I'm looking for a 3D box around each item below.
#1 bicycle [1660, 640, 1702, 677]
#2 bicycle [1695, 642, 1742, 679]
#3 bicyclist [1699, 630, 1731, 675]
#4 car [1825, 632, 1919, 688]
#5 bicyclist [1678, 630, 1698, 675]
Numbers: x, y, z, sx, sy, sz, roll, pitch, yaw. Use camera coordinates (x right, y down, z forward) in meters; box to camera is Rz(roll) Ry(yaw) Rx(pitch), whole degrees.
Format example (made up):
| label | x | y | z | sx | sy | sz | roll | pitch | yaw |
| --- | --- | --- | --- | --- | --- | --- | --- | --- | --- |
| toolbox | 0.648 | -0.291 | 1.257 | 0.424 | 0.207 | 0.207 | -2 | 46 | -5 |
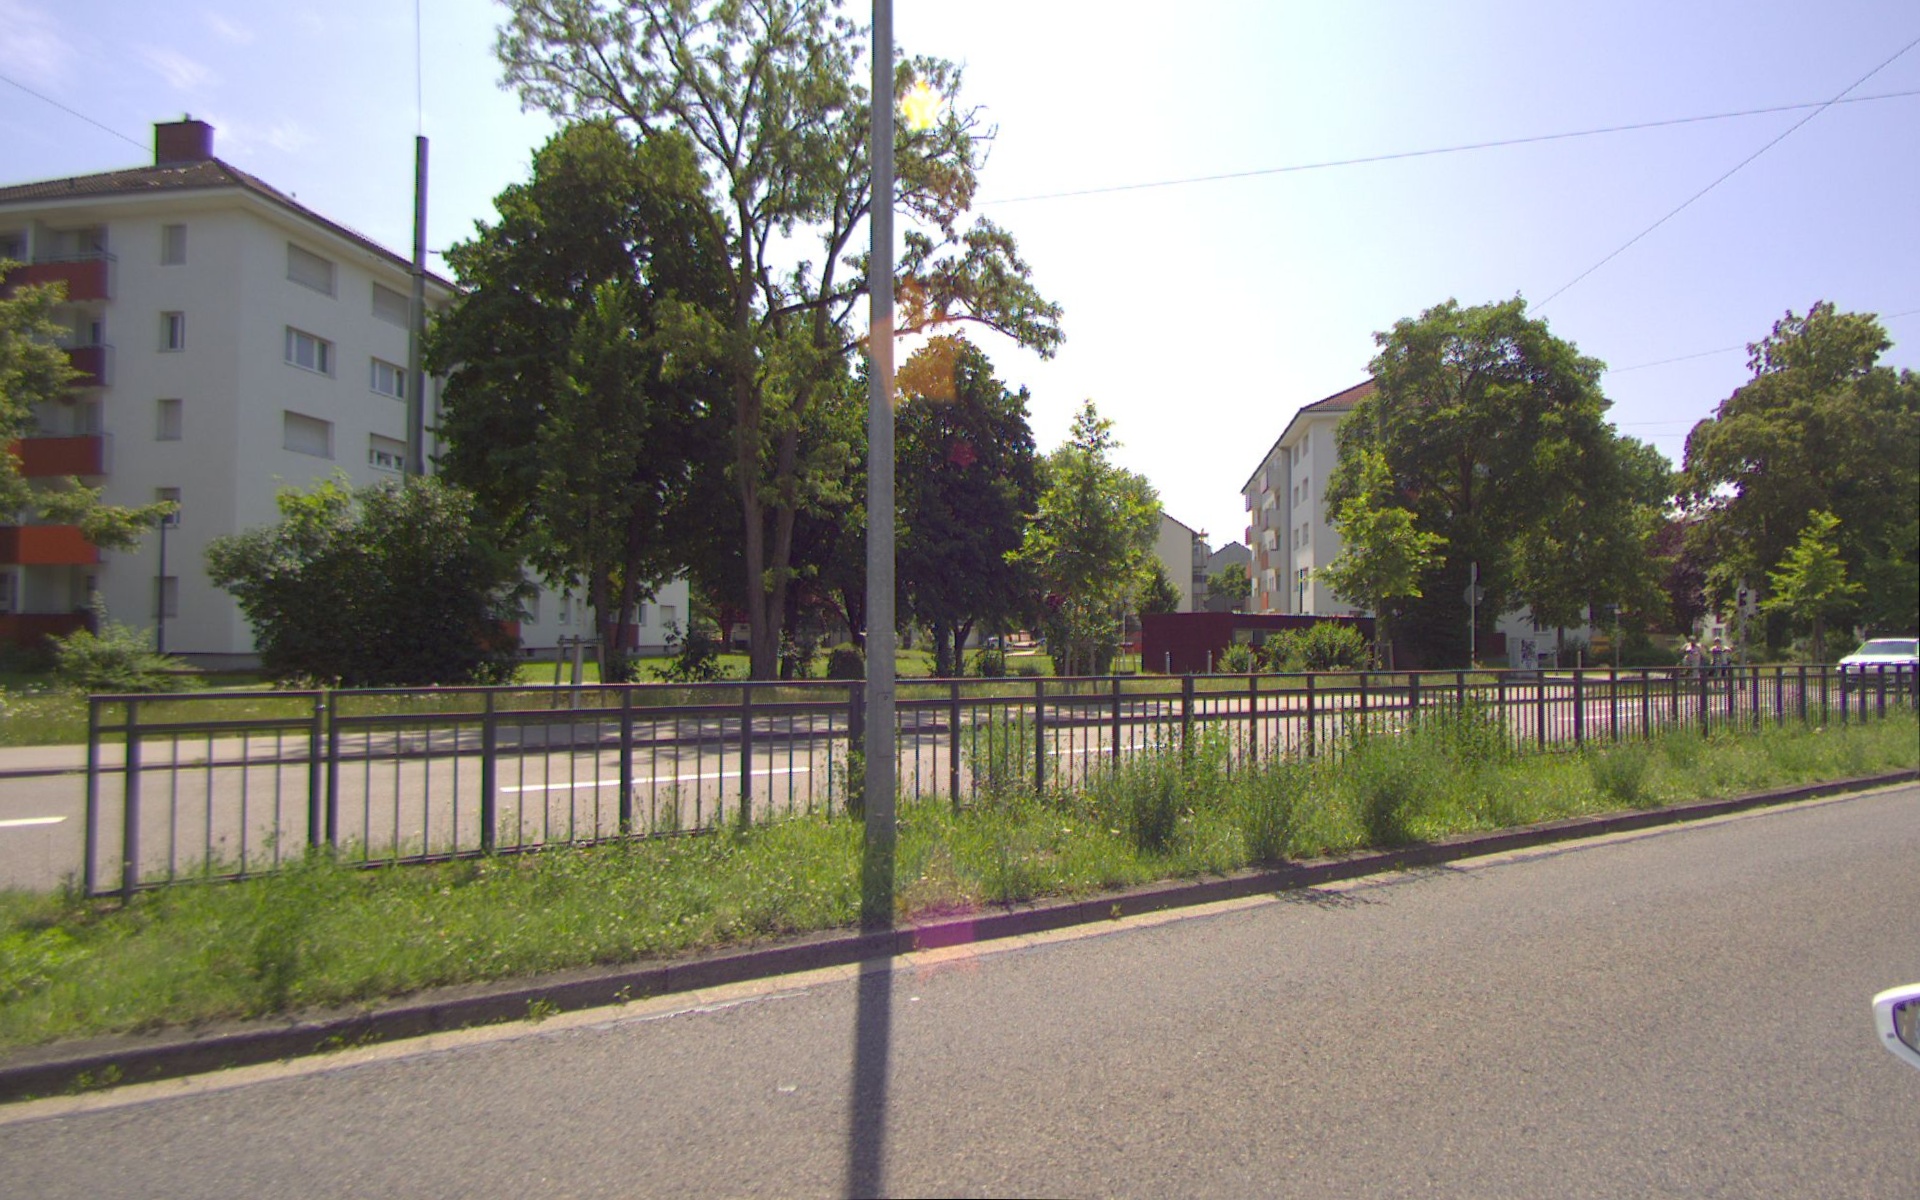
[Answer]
| label | x | y | z | sx | sy | sz | roll | pitch | yaw |
| --- | --- | --- | --- | --- | --- | --- | --- | --- | --- |
| bicycle | 22.803 | 1.849 | 31.757 | 1.363 | 1.109 | 0.551 | 3 | -1 | -29 |
| bicycle | 23.597 | 1.870 | 31.237 | 1.596 | 1.148 | 0.585 | 2 | -2 | -30 |
| bicyclist | 23.391 | 1.623 | 31.116 | 0.747 | 1.363 | 0.542 | 1 | -2 | -31 |
| car | 28.363 | 1.806 | 30.552 | 4.296 | 1.593 | 1.812 | 2 | -3 | -31 |
| bicyclist | 23.139 | 1.661 | 31.918 | 0.435 | 1.410 | 0.356 | 1 | -1 | -27 |
